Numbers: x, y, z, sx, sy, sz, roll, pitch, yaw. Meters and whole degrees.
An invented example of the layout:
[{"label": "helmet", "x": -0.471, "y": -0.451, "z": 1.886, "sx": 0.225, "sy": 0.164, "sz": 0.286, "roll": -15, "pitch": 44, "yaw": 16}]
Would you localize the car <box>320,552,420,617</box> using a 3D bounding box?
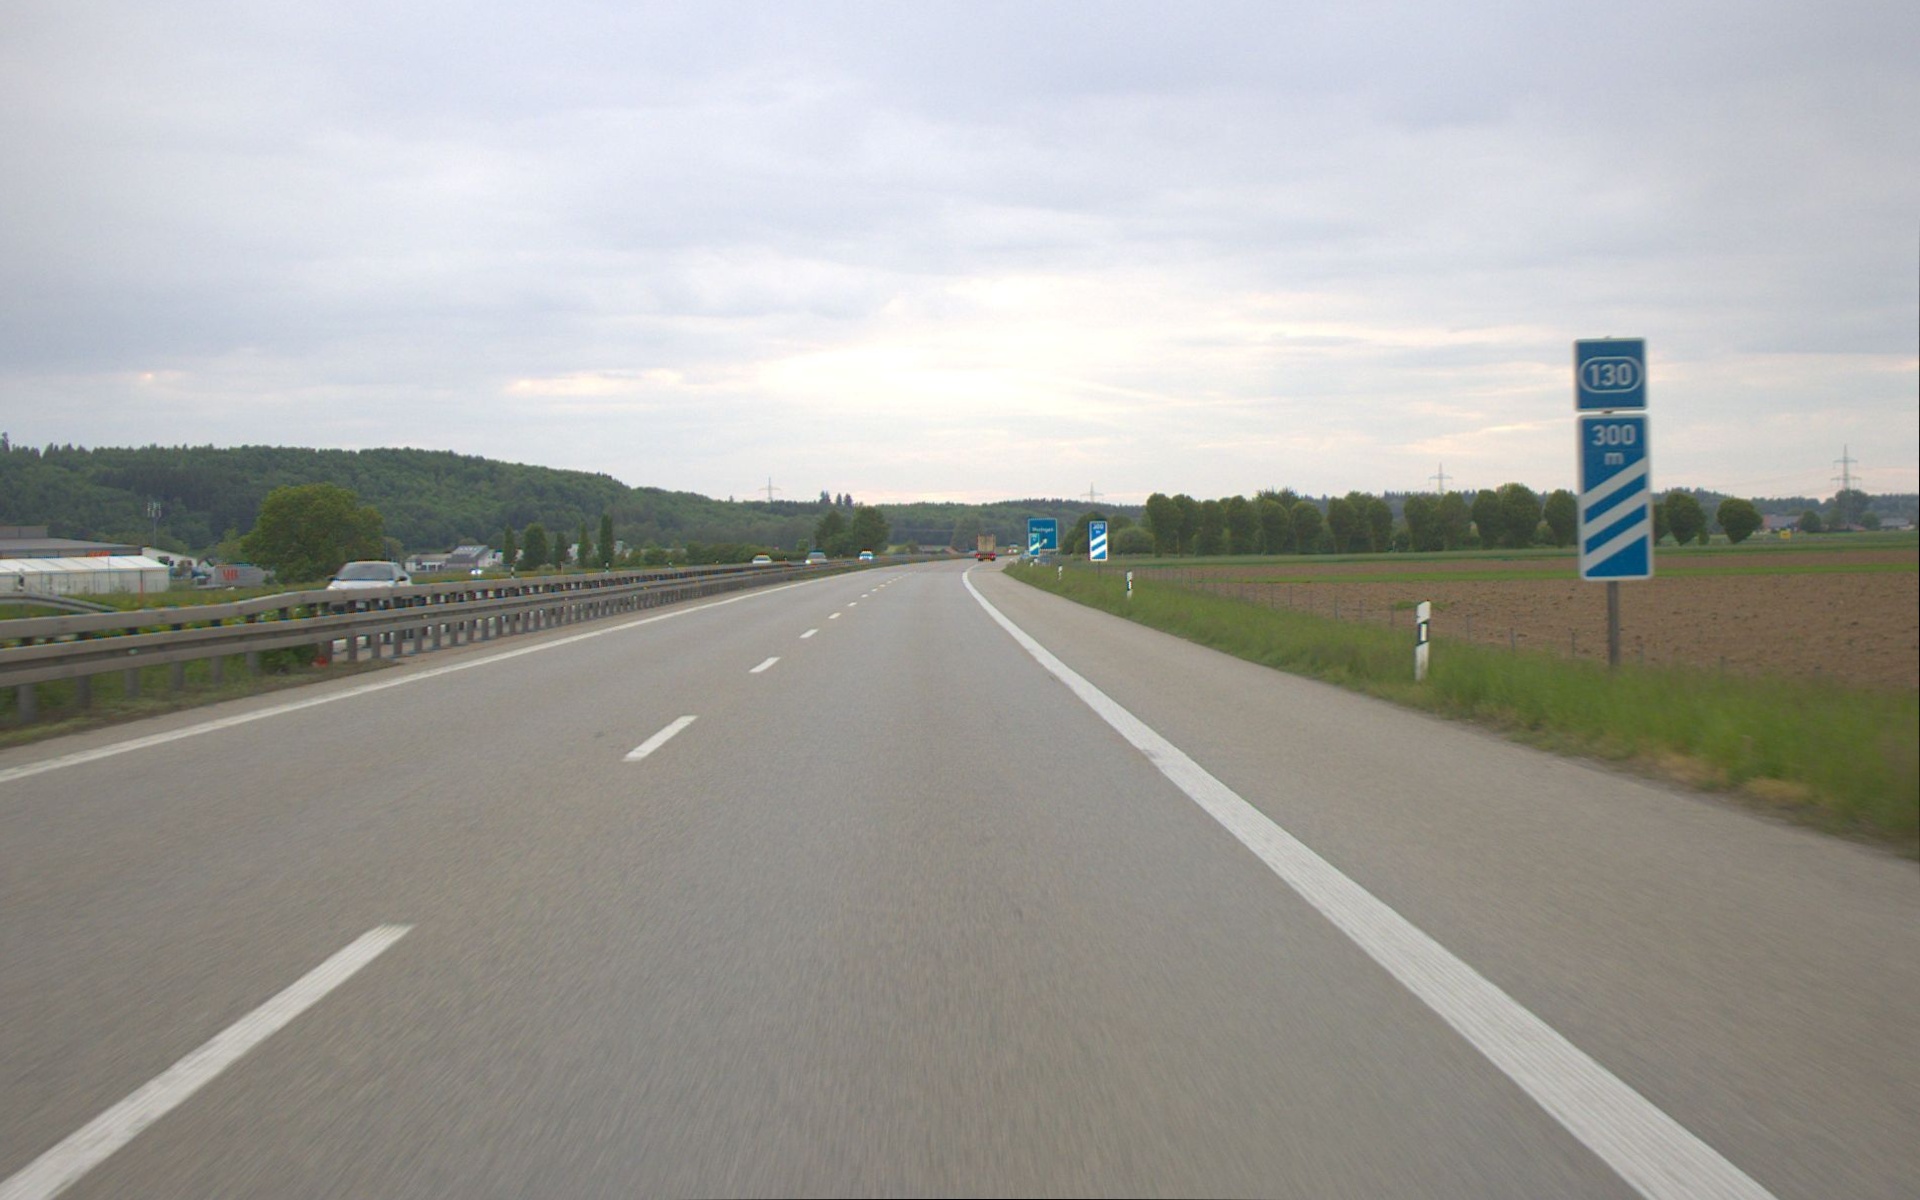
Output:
[{"label": "car", "x": -14.886, "y": -0.415, "z": 86.922, "sx": 1.740, "sy": 1.569, "sz": 4.857, "roll": 1, "pitch": 1, "yaw": -1}]
